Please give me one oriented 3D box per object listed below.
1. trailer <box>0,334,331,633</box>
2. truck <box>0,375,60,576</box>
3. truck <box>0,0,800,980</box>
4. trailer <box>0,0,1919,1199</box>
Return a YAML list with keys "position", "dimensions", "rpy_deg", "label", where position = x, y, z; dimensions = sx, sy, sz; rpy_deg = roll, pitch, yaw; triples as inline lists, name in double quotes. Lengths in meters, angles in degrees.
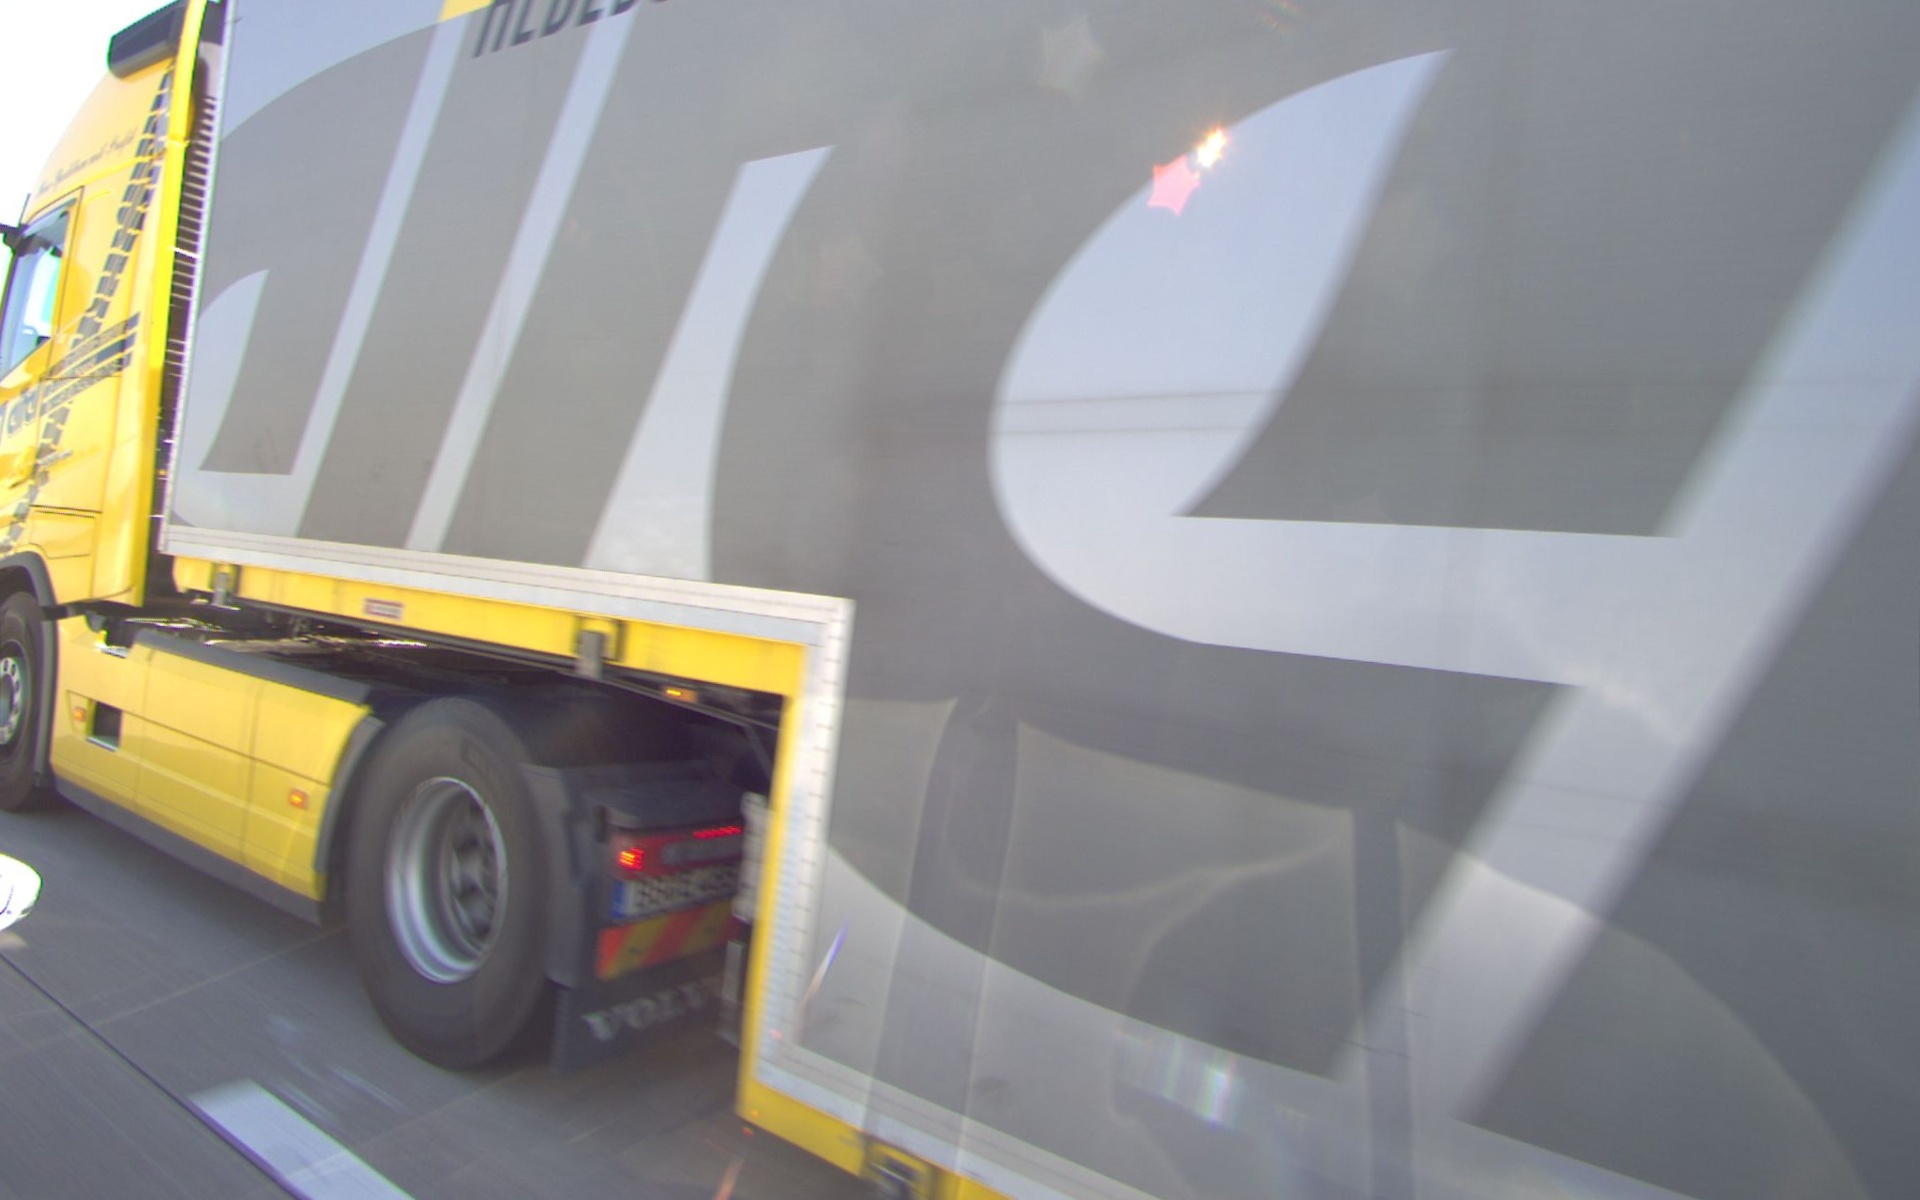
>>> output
- position: [-17.151, -2.336, 19.306]
  dimensions: [14.501, 4.242, 1.997]
  rpy_deg: [6, -1, 32]
  label: "trailer"
- position: [-23.302, -3.001, 23.115]
  dimensions: [5.611, 4.242, 1.997]
  rpy_deg: [6, -1, 32]
  label: "truck"
- position: [-3.727, -1.057, 5.423]
  dimensions: [5.108, 4.304, 1.997]
  rpy_deg: [6, -1, 31]
  label: "truck"
- position: [3.004, -0.257, 1.336]
  dimensions: [14.945, 4.304, 1.997]
  rpy_deg: [6, -1, 31]
  label: "trailer"
